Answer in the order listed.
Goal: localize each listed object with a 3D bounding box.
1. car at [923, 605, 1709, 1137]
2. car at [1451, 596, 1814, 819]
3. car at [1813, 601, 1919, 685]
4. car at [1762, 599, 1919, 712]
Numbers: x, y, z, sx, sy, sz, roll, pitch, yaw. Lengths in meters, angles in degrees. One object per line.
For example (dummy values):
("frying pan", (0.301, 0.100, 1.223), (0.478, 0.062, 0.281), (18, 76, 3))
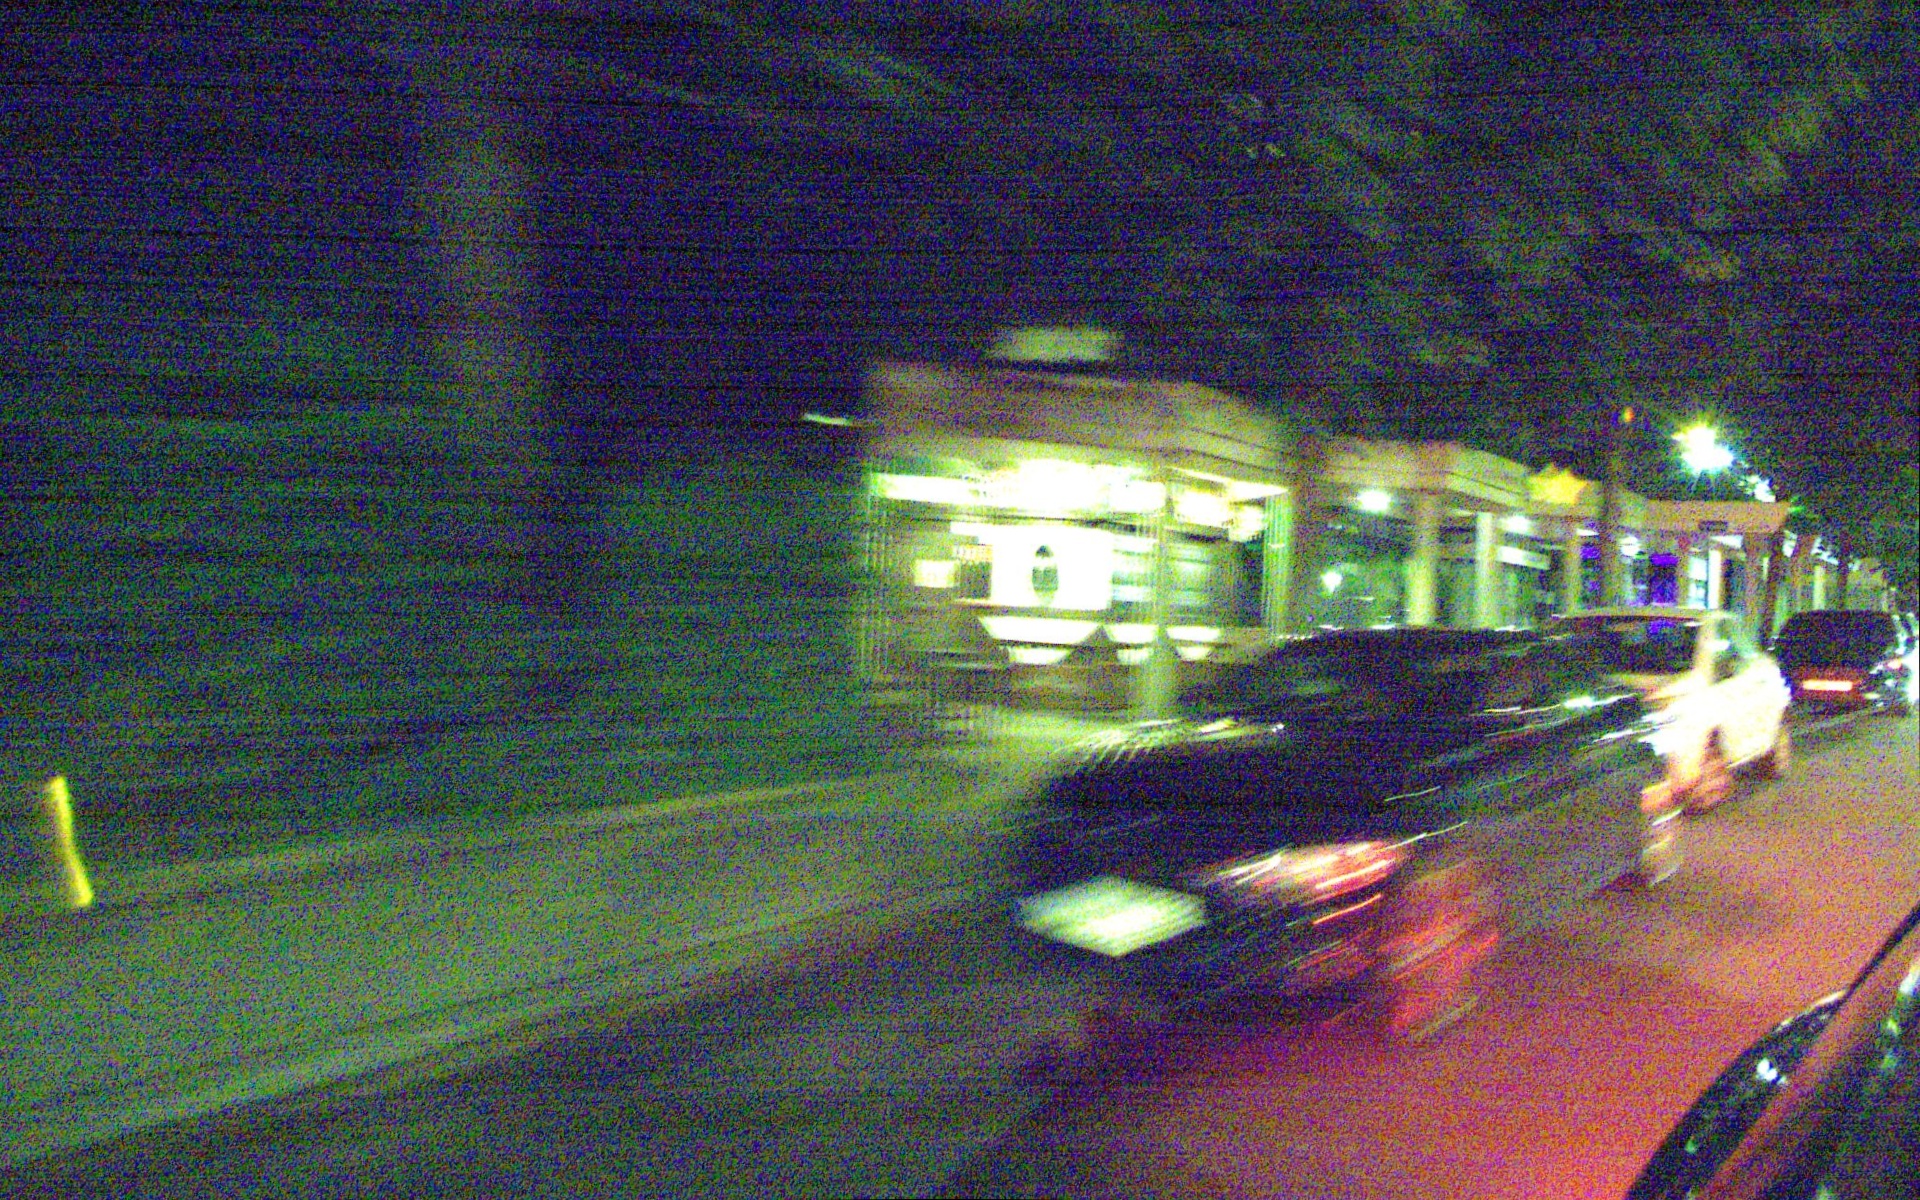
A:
("car", (2.045, 0.752, 4.917), (4.364, 1.434, 1.764), (0, 0, -42))
("car", (5.819, 0.725, 8.597), (3.710, 1.485, 1.641), (0, -1, -41))
("car", (17.183, 0.729, 18.761), (3.456, 1.416, 1.602), (0, 0, -41))
("car", (13.480, 0.731, 15.199), (3.932, 1.465, 1.678), (0, 0, -43))
